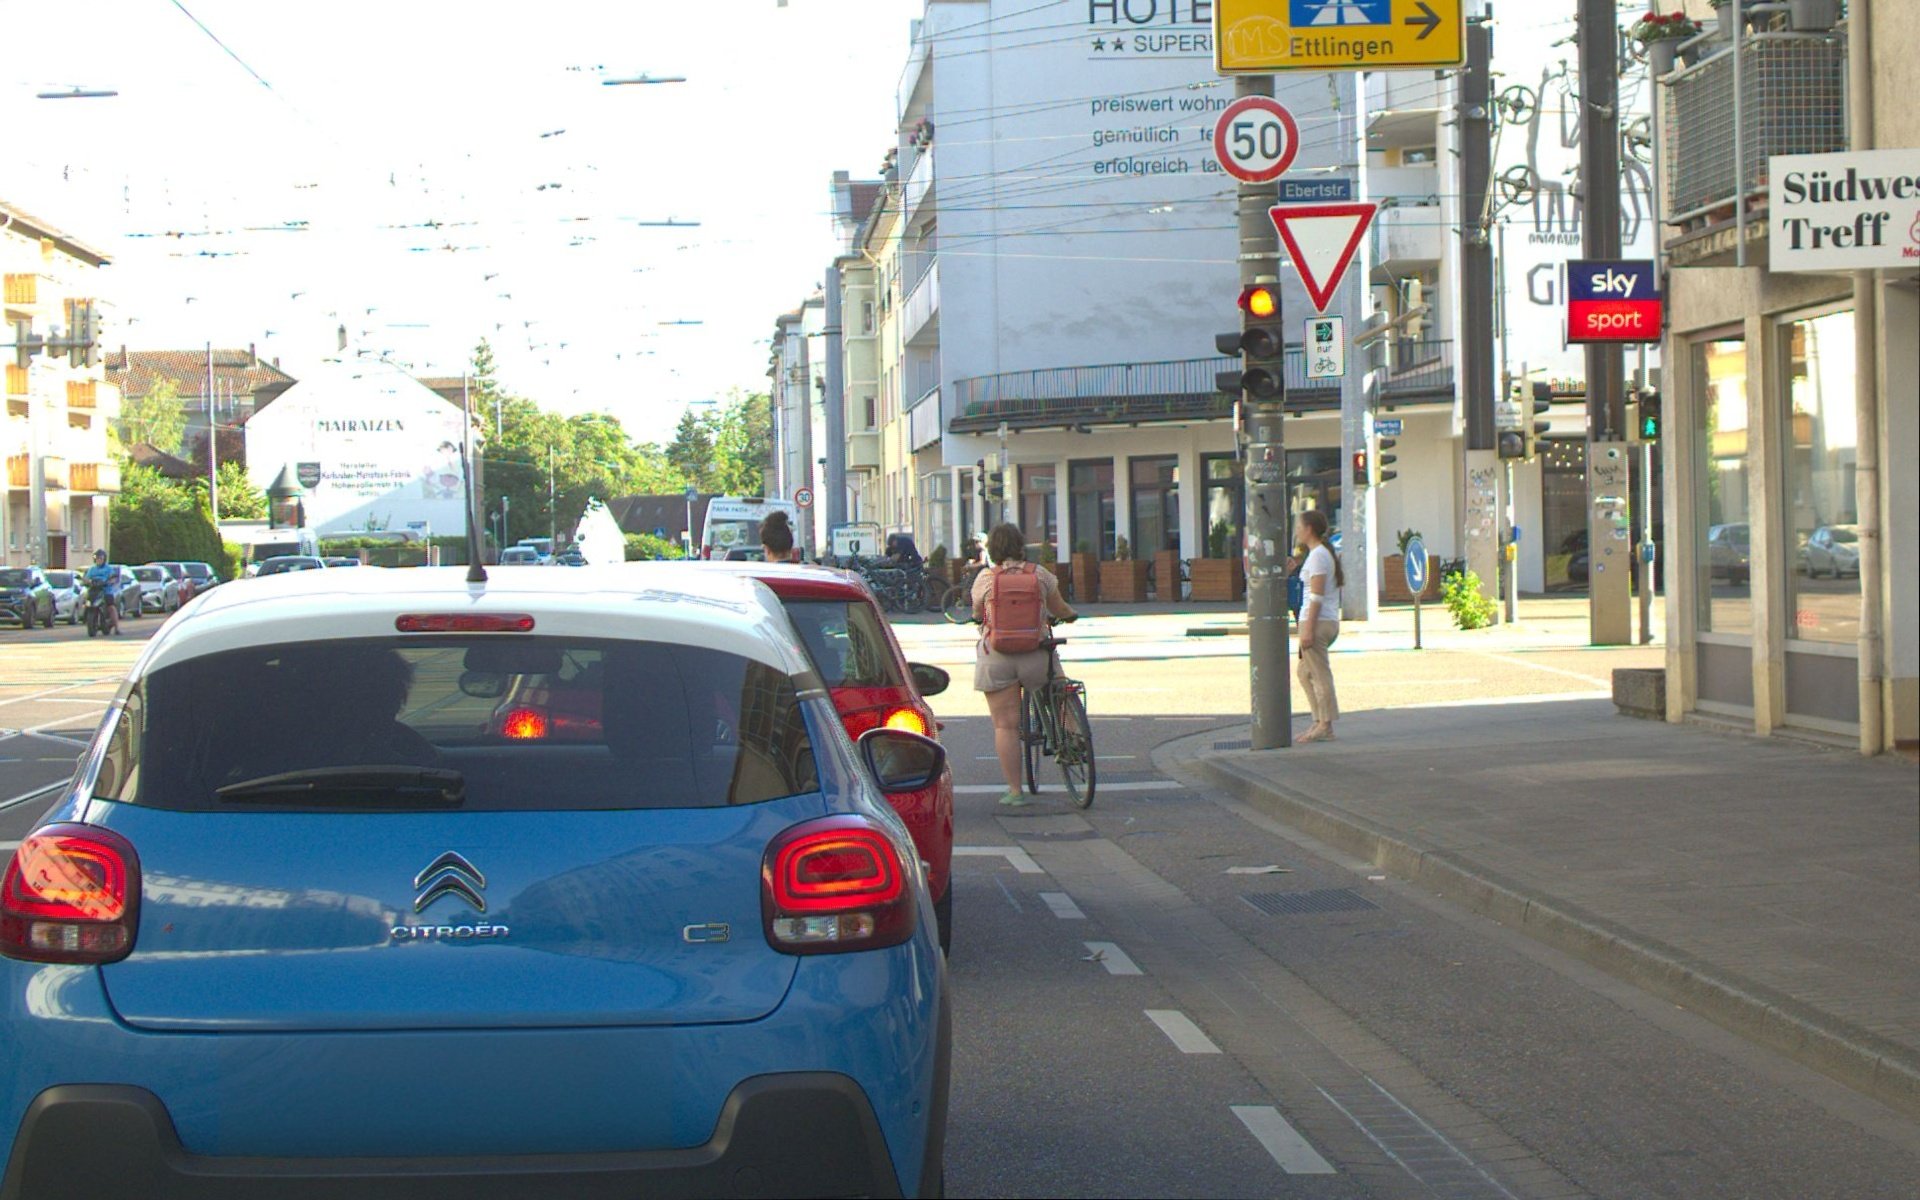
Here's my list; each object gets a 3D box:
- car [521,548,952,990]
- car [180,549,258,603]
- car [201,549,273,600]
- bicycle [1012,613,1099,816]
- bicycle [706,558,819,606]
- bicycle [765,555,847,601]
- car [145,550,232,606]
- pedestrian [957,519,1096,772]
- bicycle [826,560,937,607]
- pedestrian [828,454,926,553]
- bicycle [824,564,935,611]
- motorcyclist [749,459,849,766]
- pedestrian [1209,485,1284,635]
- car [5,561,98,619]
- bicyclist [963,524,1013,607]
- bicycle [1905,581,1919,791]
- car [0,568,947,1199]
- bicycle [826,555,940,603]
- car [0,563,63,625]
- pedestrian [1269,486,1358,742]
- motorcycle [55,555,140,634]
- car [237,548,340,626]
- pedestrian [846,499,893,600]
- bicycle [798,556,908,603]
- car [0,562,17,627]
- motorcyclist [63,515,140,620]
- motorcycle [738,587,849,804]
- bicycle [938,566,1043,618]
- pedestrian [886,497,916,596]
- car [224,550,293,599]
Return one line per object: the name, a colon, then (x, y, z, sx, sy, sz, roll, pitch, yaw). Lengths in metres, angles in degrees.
car: (-0.770, 0.559, 13.066, 1.424, 1.462, 2.924, -1, 0, -1)
car: (-23.973, -0.784, 111.401, 1.882, 1.681, 4.001, 1, 1, -4)
car: (-24.523, -0.867, 116.692, 1.833, 1.681, 4.001, 1, 1, -4)
bicycle: (0.560, 0.654, 20.556, 0.427, 1.119, 1.998, 1, 1, -1)
bicycle: (-3.813, -0.349, 66.244, 2.132, 0.898, 0.367, 1, 0, -9)
bicycle: (-3.108, -0.444, 69.412, 1.785, 0.898, 0.366, 1, 1, 34)
car: (-23.792, -0.695, 106.188, 1.983, 1.681, 4.001, 1, 1, -3)
pedestrian: (0.384, 0.260, 20.261, 0.777, 1.455, 0.682, 1, 0, -1)
bicycle: (-1.531, -0.327, 67.185, 2.132, 0.898, 0.367, 1, 0, -9)
pedestrian: (-1.750, -2.034, 73.534, 1.993, 2.007, 4.000, 1, 1, -1)
bicycle: (-1.585, -0.251, 67.583, 2.132, 0.898, 0.367, 1, 0, -9)
motorcyclist: (-0.914, 0.068, 19.624, 0.526, 1.710, 0.717, 1, 0, -1)
pedestrian: (3.897, -0.543, 46.855, 0.926, 2.007, 0.759, 1, 0, -1)
car: (-24.312, -0.281, 92.115, 1.732, 1.493, 4.001, 1, 1, -5)
bicyclist: (0.507, -0.611, 61.649, 0.746, 1.472, 0.562, 1, 0, 18)
bicycle: (4.849, 0.420, 15.742, 0.542, 0.995, 1.706, 1, 1, -1)
car: (-0.877, 0.665, 7.138, 1.654, 1.439, 3.523, 1, 1, -1)
bicycle: (-1.480, -0.398, 65.877, 2.132, 0.898, 0.367, 1, 0, -9)
car: (-23.711, -0.159, 85.908, 1.785, 1.493, 4.001, 1, 1, -4)
pedestrian: (2.490, 0.096, 24.260, 0.517, 1.777, 0.595, 1, 0, -2)
motorcycle: (-16.761, -0.118, 66.892, 0.923, 1.481, 3.726, 1, 1, -3)
car: (-14.902, -0.307, 76.419, 1.774, 1.660, 3.857, 1, 1, -4)
pedestrian: (-1.824, -1.010, 69.174, 0.630, 2.007, 0.724, 1, 0, -36)
bicycle: (-2.129, -0.407, 68.309, 2.132, 0.898, 0.367, 1, 0, -9)
car: (-23.198, -0.137, 79.370, 1.787, 1.506, 4.150, 1, 1, -2)
motorcyclist: (-16.792, -0.639, 67.264, 1.185, 2.007, 1.276, -1, 1, -3)
motorcycle: (-0.922, 0.503, 19.441, 0.526, 1.136, 2.290, 1, 1, -1)
bicycle: (0.551, -0.141, 61.629, 1.855, 0.900, 0.349, 1, 0, 19)
pedestrian: (-1.211, -1.093, 70.307, 0.577, 2.007, 0.626, 1, 0, -3)
car: (-24.734, -0.894, 121.286, 1.846, 1.681, 3.875, 1, 1, -4)
